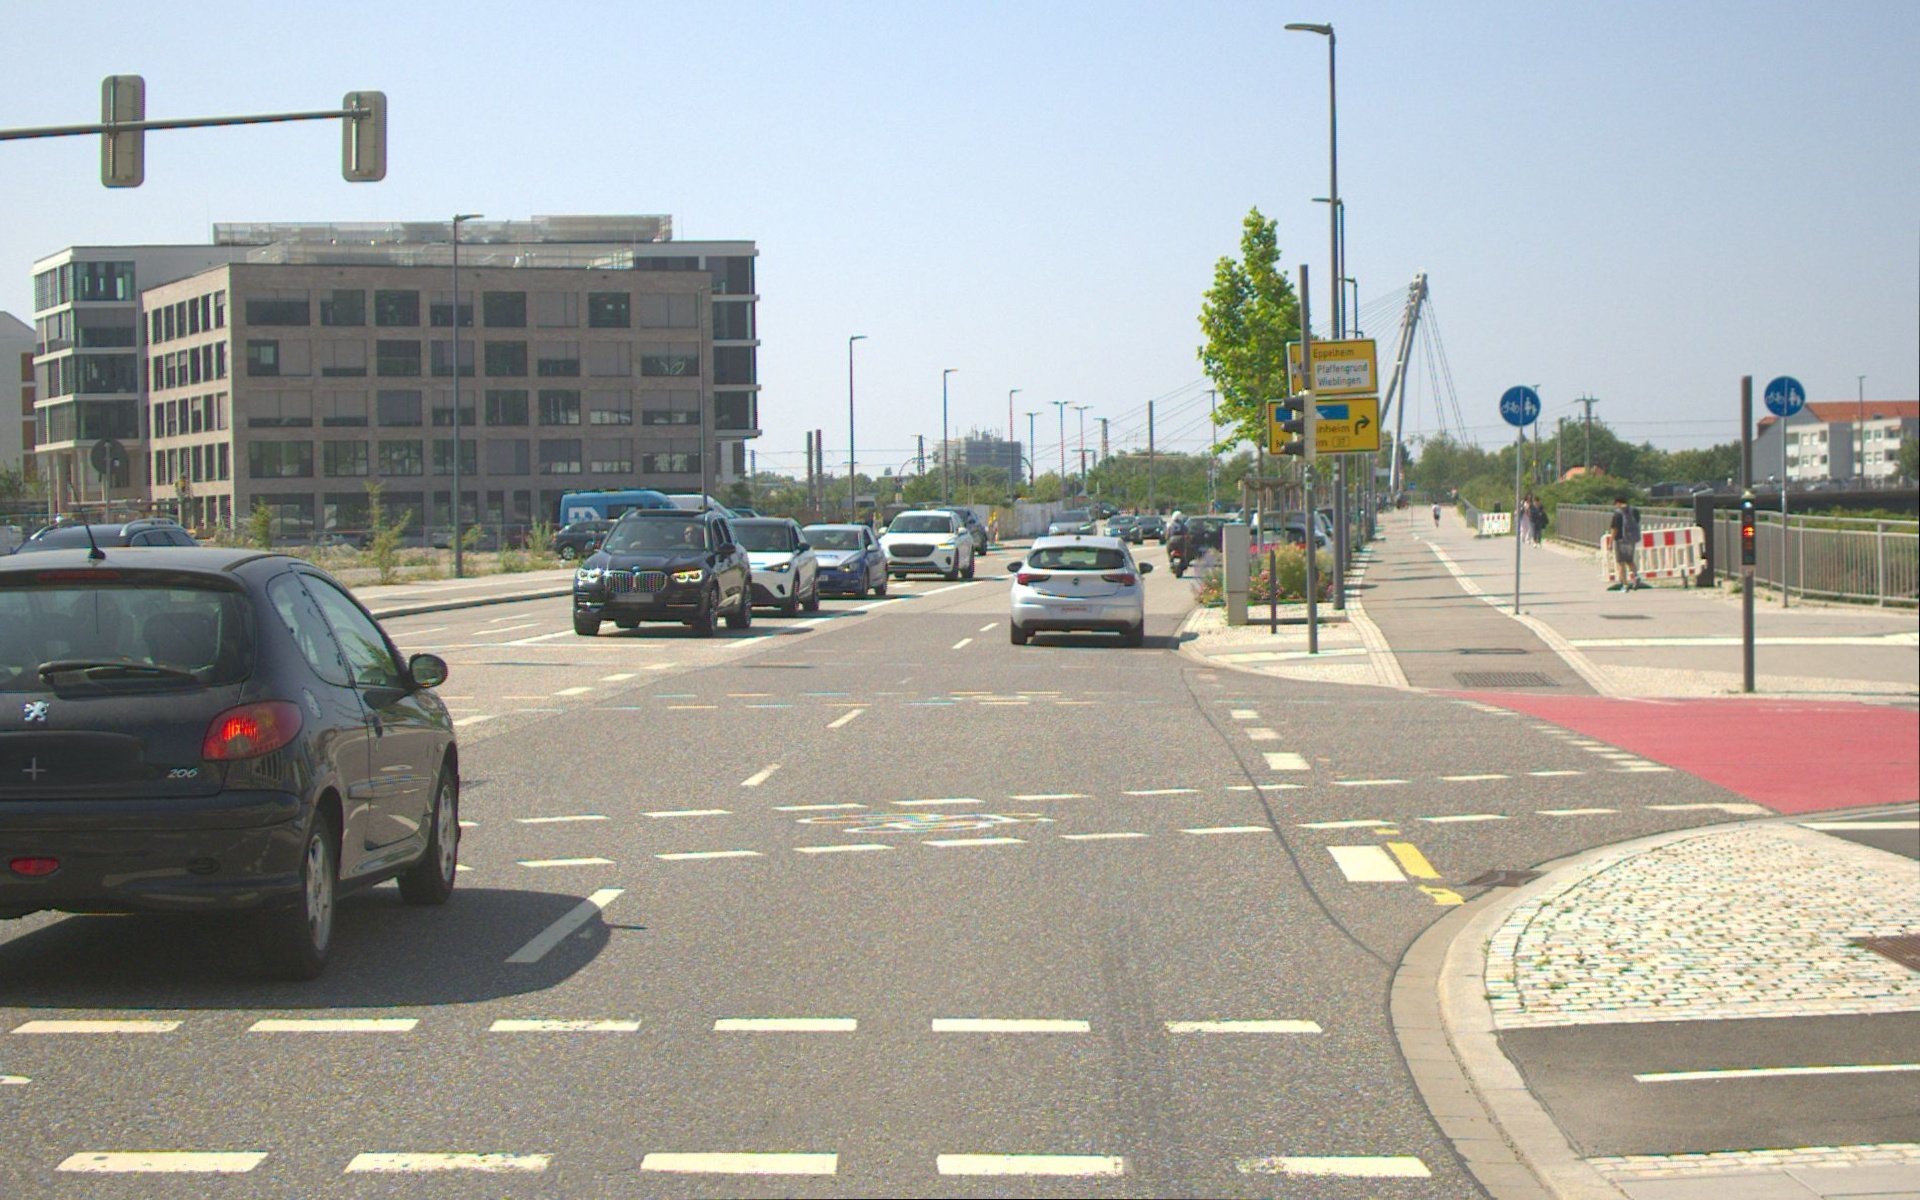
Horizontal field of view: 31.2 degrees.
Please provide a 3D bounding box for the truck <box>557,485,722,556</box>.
[{"bbox_3d":[-12.387,-3.073,132.975,6.005,2.534,2.275,-2,2,4],"label":"truck"}]

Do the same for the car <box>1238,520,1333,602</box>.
[{"bbox_3d":[6.793,-0.828,71.354,1.872,1.621,4.875,-1,1,6],"label":"car"}]

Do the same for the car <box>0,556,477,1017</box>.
[{"bbox_3d":[-2.869,0.558,12.571,1.619,1.411,3.727,0,1,1],"label":"car"}]

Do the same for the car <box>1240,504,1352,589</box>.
[{"bbox_3d":[6.345,-1.025,64.550,1.994,1.513,3.999,0,2,7],"label":"car"}]

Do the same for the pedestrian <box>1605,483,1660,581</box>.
[{"bbox_3d":[11.379,-1.161,58.168,0.751,1.603,0.949,-3,1,7],"label":"pedestrian"}]

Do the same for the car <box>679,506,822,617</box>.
[{"bbox_3d":[-3.511,-0.691,58.363,1.779,1.676,4.099,-3,2,5],"label":"car"}]

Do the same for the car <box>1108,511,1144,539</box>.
[{"bbox_3d":[8.545,-3.853,177.107,1.794,1.411,4.000,1,1,3],"label":"car"}]

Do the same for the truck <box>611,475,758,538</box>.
[{"bbox_3d":[-11.196,-3.812,139.960,5.568,2.354,2.275,-1,2,6],"label":"truck"}]

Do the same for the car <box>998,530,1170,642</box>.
[{"bbox_3d":[1.734,-0.222,46.835,1.779,1.437,3.999,-1,1,10],"label":"car"}]

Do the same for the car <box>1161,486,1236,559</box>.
[{"bbox_3d":[5.927,-1.930,85.555,1.793,1.744,4.000,-1,1,4],"label":"car"}]

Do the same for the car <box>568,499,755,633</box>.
[{"bbox_3d":[-4.257,-0.533,49.691,1.940,1.782,4.655,1,2,5],"label":"car"}]

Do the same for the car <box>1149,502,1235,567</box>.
[{"bbox_3d":[5.784,-1.601,85.325,1.779,1.563,3.999,1,1,9],"label":"car"}]

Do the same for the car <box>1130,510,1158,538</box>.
[{"bbox_3d":[10.543,-4.335,197.280,1.579,1.557,3.673,1,1,3],"label":"car"}]

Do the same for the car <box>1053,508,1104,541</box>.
[{"bbox_3d":[5.183,-3.287,149.973,1.894,1.410,3.597,1,1,7],"label":"car"}]

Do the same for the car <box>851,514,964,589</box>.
[{"bbox_3d":[-1.166,-1.140,78.929,1.913,1.644,4.729,-1,1,7],"label":"car"}]

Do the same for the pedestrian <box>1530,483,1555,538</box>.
[{"bbox_3d":[18.223,-2.788,107.572,0.732,1.699,0.651,1,0,8],"label":"pedestrian"}]

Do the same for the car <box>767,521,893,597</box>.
[{"bbox_3d":[-2.523,-0.798,67.806,1.786,1.416,4.281,-1,0,7],"label":"car"}]
